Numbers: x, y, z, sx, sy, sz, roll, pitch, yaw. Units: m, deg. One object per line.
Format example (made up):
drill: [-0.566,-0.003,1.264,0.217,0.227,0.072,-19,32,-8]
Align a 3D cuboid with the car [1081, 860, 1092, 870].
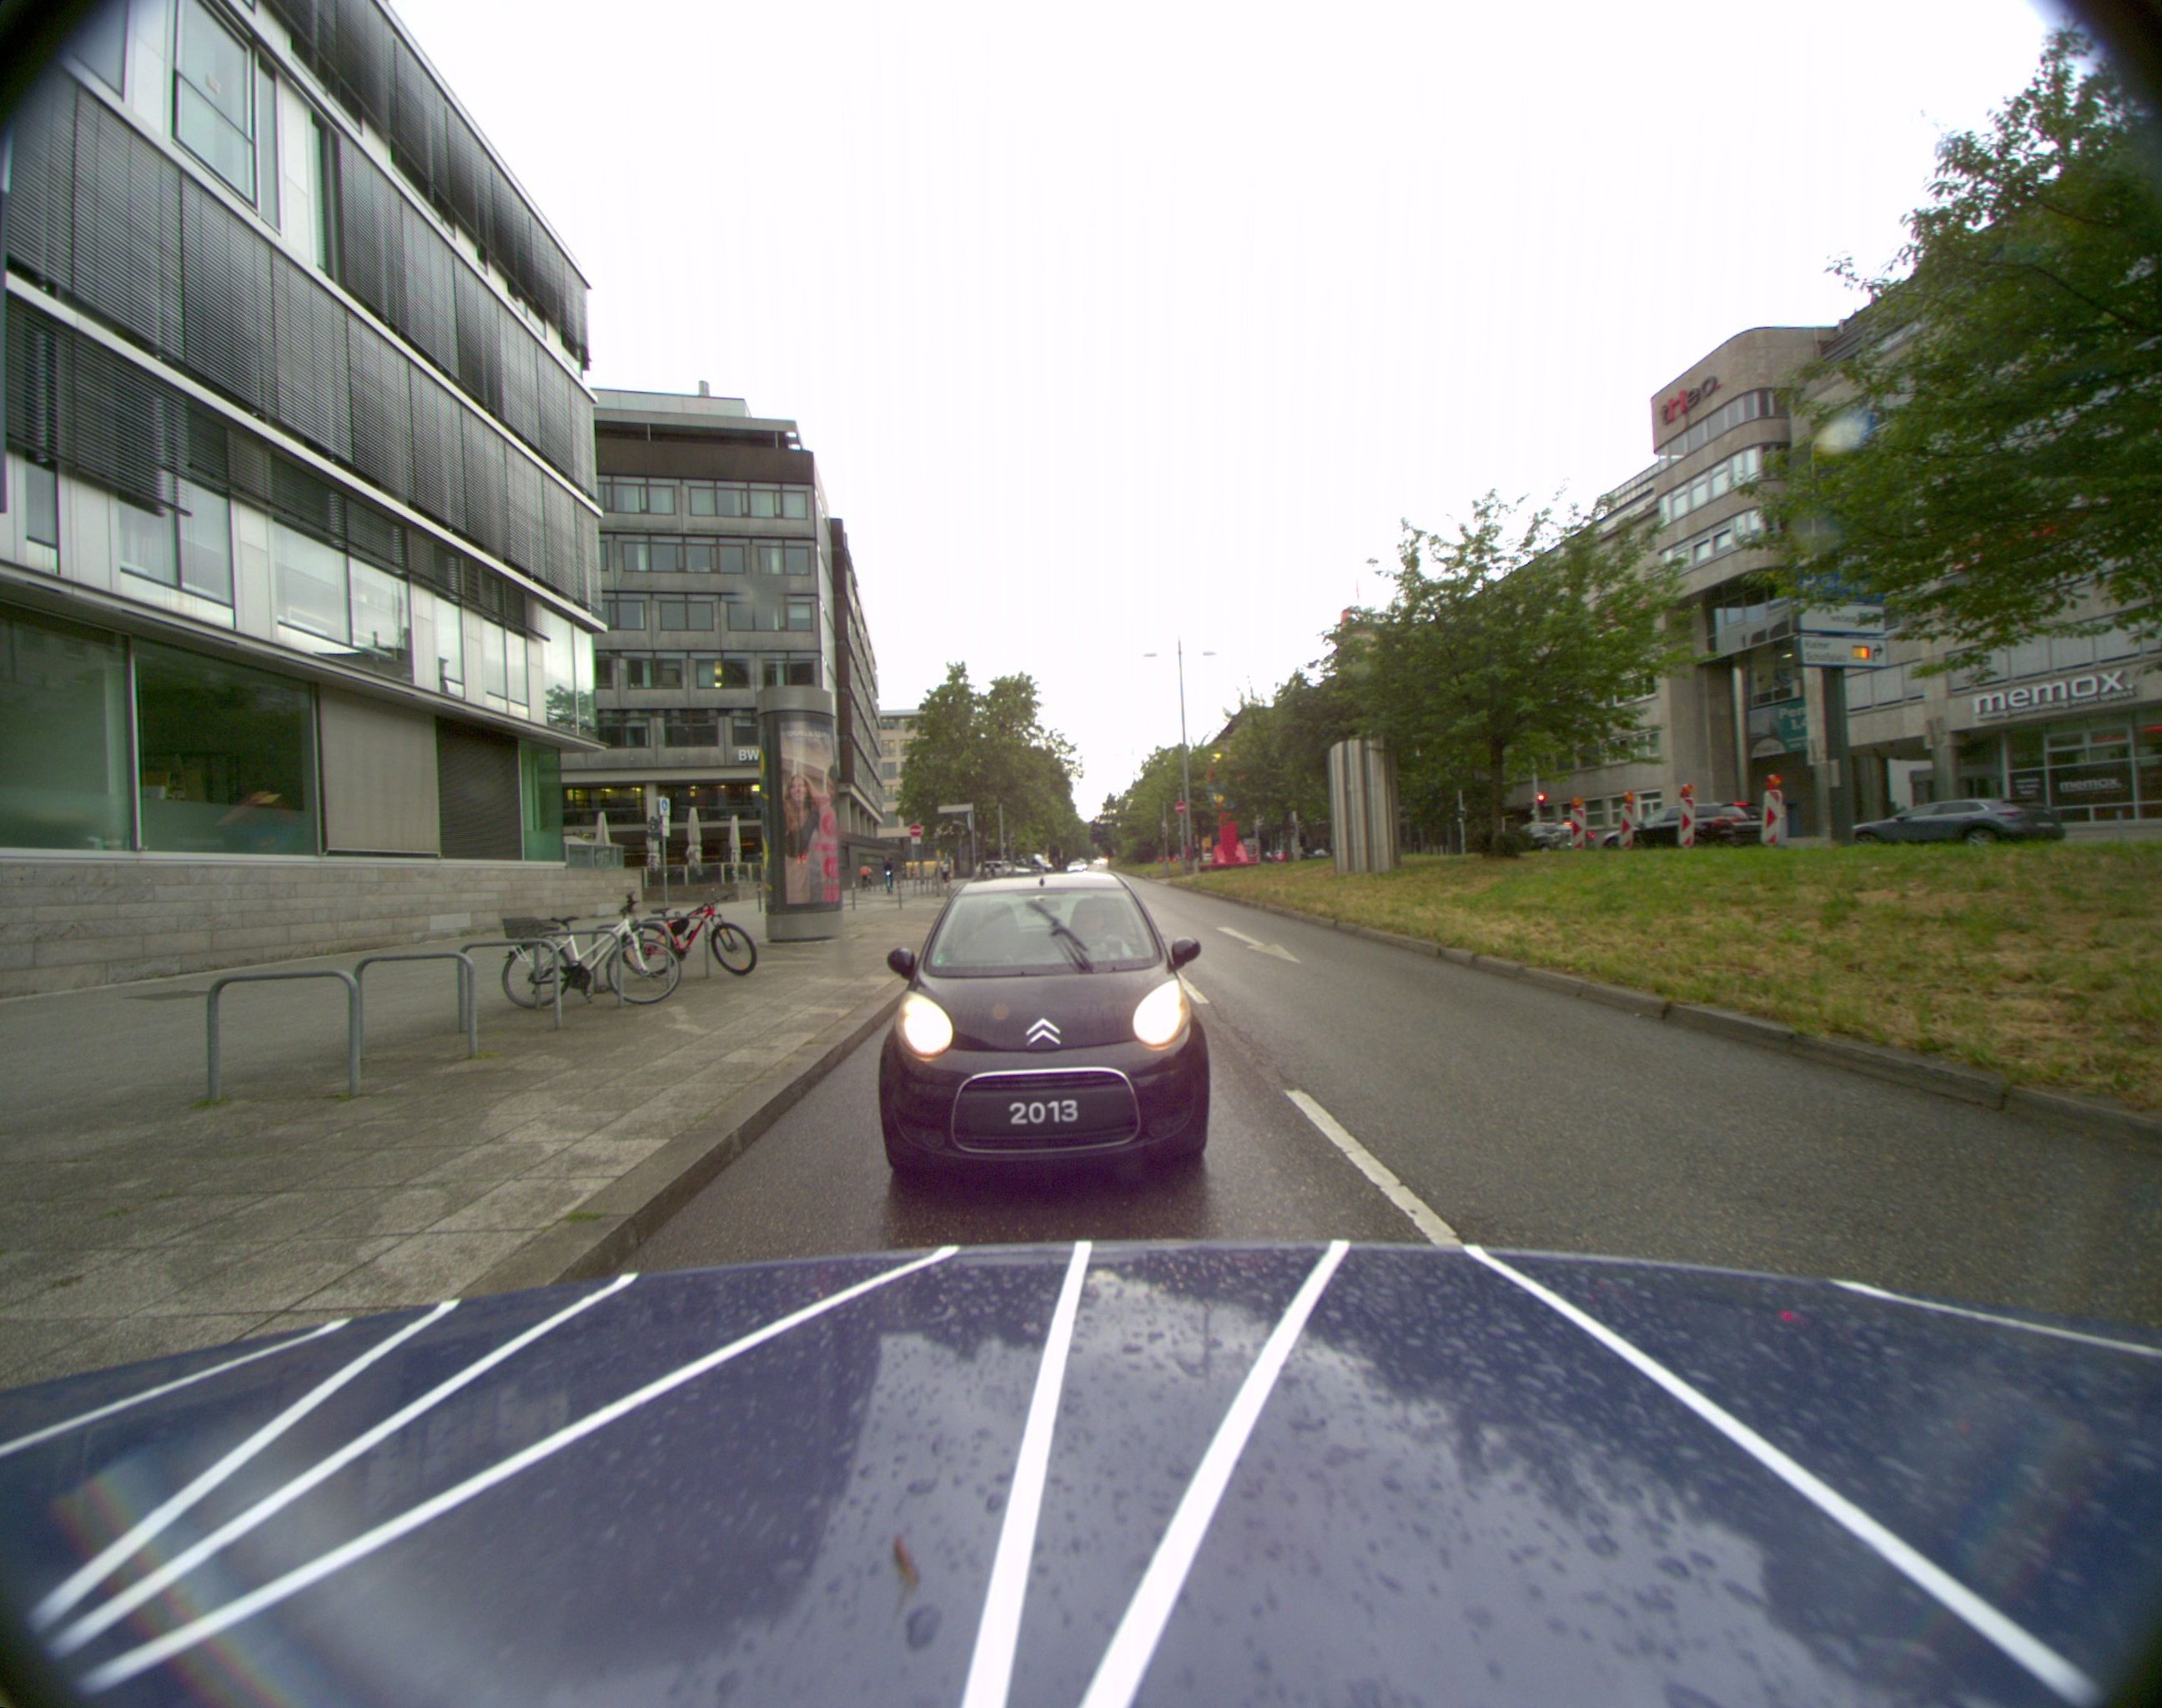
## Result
car: [1.019,1.890,131.051,1.606,1.377,3.018,-5,0,-3]

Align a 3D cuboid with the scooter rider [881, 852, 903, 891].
scooter rider: [-9.830,0.905,39.546,0.780,2.009,0.924,-2,1,1]

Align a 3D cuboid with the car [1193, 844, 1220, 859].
car: [14.267,-0.287,86.435,2.073,1.578,4.106,-5,0,-3]

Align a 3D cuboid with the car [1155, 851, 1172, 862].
car: [13.653,0.356,125.623,2.073,1.578,4.106,-5,0,-3]

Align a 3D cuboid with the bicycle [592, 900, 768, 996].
bicycle: [-5.145,1.189,9.823,1.876,1.103,0.669,-1,0,-2]

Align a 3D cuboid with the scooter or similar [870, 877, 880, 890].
scooter or similar: [-12.990,1.835,47.934,0.408,0.768,1.276,-2,0,-5]

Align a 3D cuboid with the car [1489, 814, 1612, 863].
car: [17.626,-0.549,28.791,1.880,1.571,4.106,-5,0,-3]

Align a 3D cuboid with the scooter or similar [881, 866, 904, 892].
scooter or similar: [-9.814,1.287,39.541,0.780,1.298,1.335,-2,0,1]

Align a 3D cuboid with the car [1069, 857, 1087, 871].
car: [-0.414,1.331,99.530,2.073,1.578,4.106,-5,0,-3]

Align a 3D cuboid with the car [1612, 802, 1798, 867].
car: [17.999,-0.520,22.215,1.880,1.571,4.106,-5,0,-3]

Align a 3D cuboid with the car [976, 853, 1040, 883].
car: [-5.363,1.035,55.523,4.202,1.802,2.003,-4,1,32]

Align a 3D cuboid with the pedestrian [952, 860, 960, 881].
pedestrian: [-10.292,1.334,62.527,0.452,1.692,0.497,-2,1,-2]

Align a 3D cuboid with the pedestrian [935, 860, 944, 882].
pedestrian: [-11.547,1.388,62.093,0.552,1.692,0.547,-2,1,-2]

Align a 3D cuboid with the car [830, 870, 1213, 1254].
car: [-0.301,0.945,5.178,1.595,1.501,3.708,-3,0,-2]

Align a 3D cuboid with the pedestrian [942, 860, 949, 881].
pedestrian: [-11.076,1.369,62.142,0.452,1.692,0.547,-2,1,-2]

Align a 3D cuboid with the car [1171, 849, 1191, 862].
car: [14.061,0.164,107.030,2.073,1.578,4.106,-5,0,-3]

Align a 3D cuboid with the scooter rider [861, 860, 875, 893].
scooter rider: [-13.392,1.392,47.823,0.627,2.013,0.854,-2,1,-5]

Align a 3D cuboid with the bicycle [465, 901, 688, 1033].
bicycle: [-5.214,1.146,7.957,1.797,1.199,0.669,-1,0,-9]

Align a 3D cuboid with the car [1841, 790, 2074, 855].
car: [24.695,-0.814,21.658,1.575,1.571,4.105,-5,0,-7]

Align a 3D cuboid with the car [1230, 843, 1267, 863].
car: [14.971,-0.109,68.160,2.073,1.578,4.106,-5,0,-3]

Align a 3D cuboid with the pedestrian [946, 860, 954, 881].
pedestrian: [-10.716,1.355,62.180,0.452,1.692,0.497,-2,1,-2]
